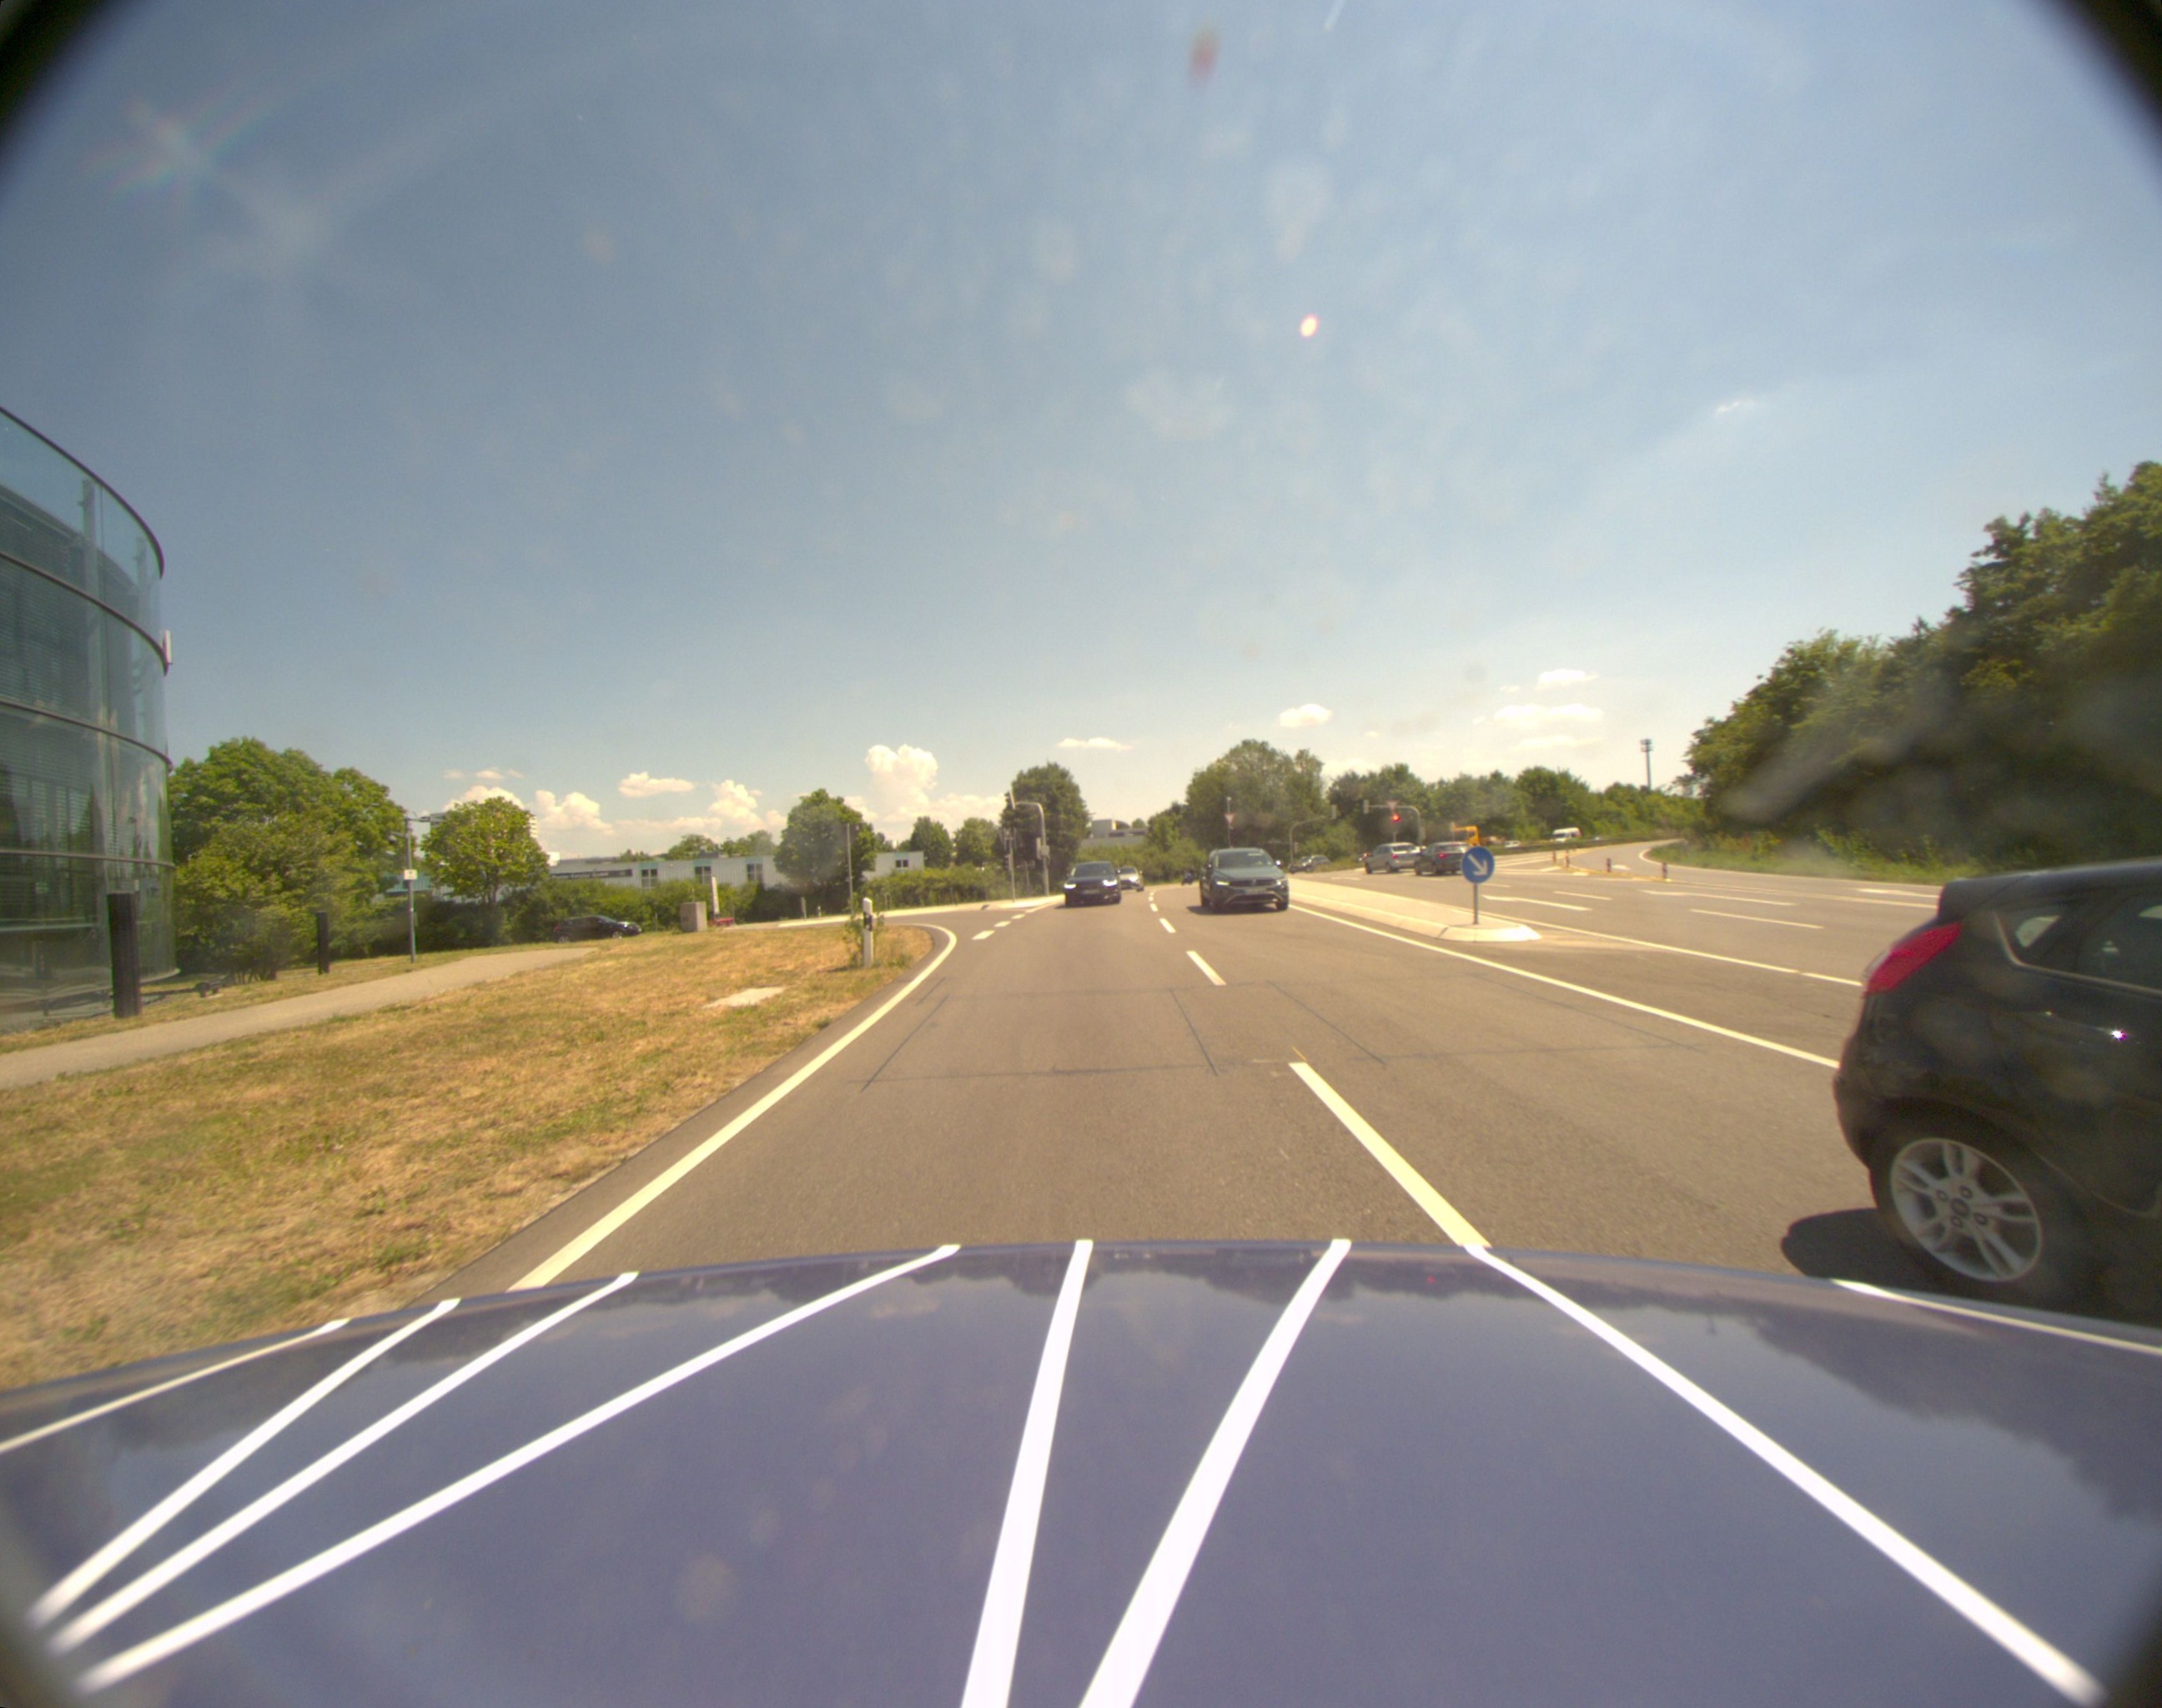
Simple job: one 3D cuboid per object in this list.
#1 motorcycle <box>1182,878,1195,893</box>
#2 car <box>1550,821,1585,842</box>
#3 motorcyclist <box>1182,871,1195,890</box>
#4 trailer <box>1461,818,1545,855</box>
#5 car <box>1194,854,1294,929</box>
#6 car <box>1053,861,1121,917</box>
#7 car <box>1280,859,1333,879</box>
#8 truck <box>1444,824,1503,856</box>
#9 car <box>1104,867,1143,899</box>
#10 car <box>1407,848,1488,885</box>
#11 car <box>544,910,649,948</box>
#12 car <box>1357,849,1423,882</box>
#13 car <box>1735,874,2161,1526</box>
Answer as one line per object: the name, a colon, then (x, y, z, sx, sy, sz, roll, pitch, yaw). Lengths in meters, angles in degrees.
motorcycle: (8.607, 2.476, 60.723, 0.733, 1.131, 2.075, 0, -1, 15)
car: (65.809, -3.031, 102.721, 5.490, 2.591, 2.164, -3, -2, -38)
motorcyclist: (8.625, 2.128, 60.770, 0.859, 1.479, 1.163, -1, 0, 15)
trailer: (52.979, -2.216, 95.074, 13.193, 4.038, 3.067, -3, -1, -32)
car: (3.964, 0.849, 19.170, 1.838, 1.577, 4.393, -4, -1, 5)
car: (0.287, 1.066, 24.916, 1.779, 1.497, 4.563, -5, -1, 5)
car: (20.157, 1.333, 67.971, 4.458, 1.582, 2.114, -2, 1, -32)
truck: (47.203, -1.721, 91.423, 6.867, 3.516, 2.980, -3, -1, -31)
car: (2.336, 1.564, 42.145, 1.933, 1.577, 4.181, -4, -1, 2)
car: (16.369, 0.560, 34.146, 1.997, 1.430, 4.225, -4, -1, 8)
car: (-26.173, 4.034, 41.207, 4.355, 1.589, 1.936, -4, -1, -14)
car: (16.916, 0.654, 41.839, 1.612, 1.589, 4.354, -4, -1, -2)
car: (3.364, 0.820, 0.843, 1.657, 1.485, 4.208, -2, -1, 1)
